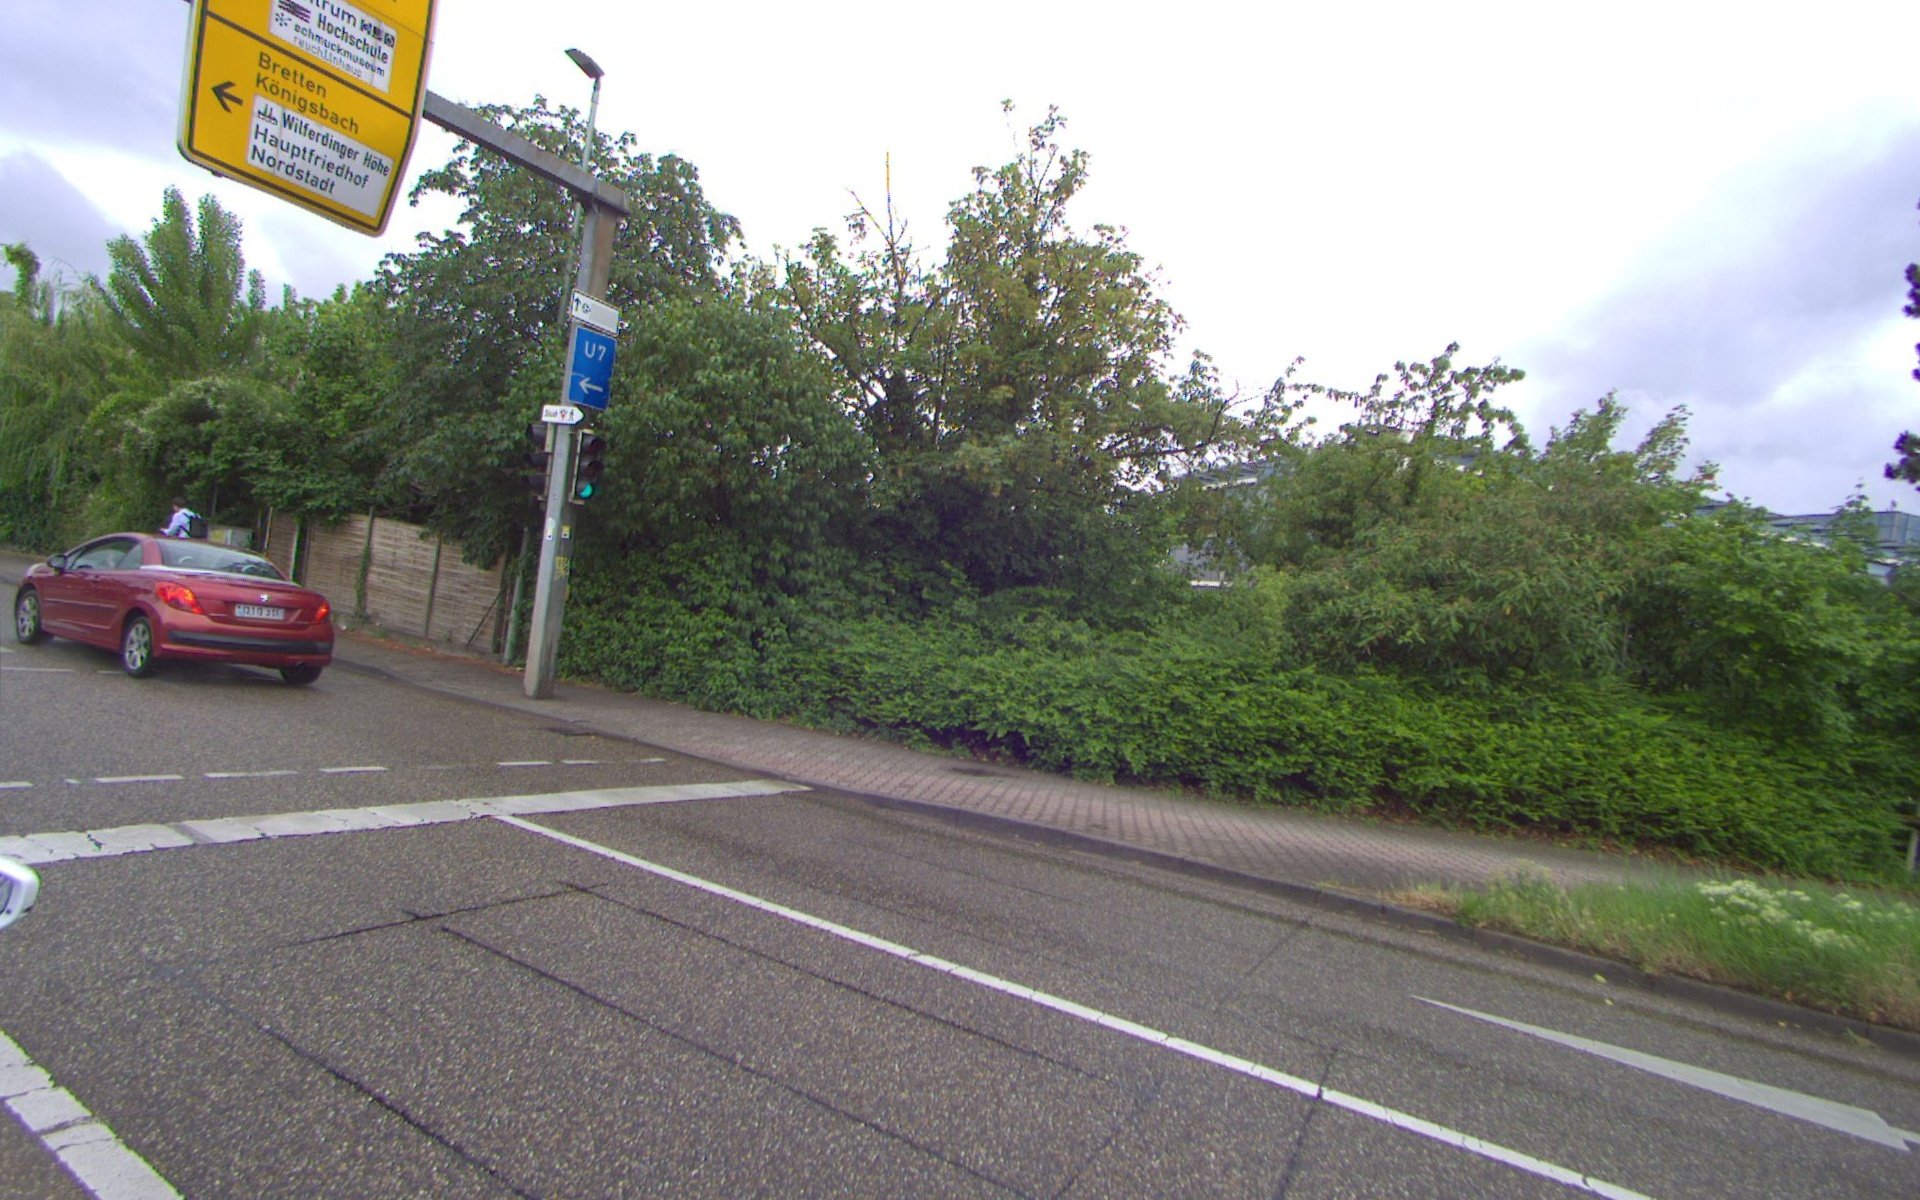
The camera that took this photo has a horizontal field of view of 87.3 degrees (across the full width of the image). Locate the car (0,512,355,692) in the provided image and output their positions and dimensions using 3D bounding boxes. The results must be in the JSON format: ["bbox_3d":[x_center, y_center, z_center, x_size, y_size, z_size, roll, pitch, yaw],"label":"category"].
[{"bbox_3d":[-8.529,0.009,10.927,3.626,1.419,1.630,7,-2,29],"label":"car"}]

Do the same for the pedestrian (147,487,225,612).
[{"bbox_3d":[-13.295,-0.855,17.285,0.705,2.026,0.657,7,0,28],"label":"pedestrian"}]

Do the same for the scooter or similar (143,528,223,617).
[{"bbox_3d":[-13.341,-0.481,17.271,1.361,1.378,0.462,7,0,28],"label":"scooter or similar"}]
